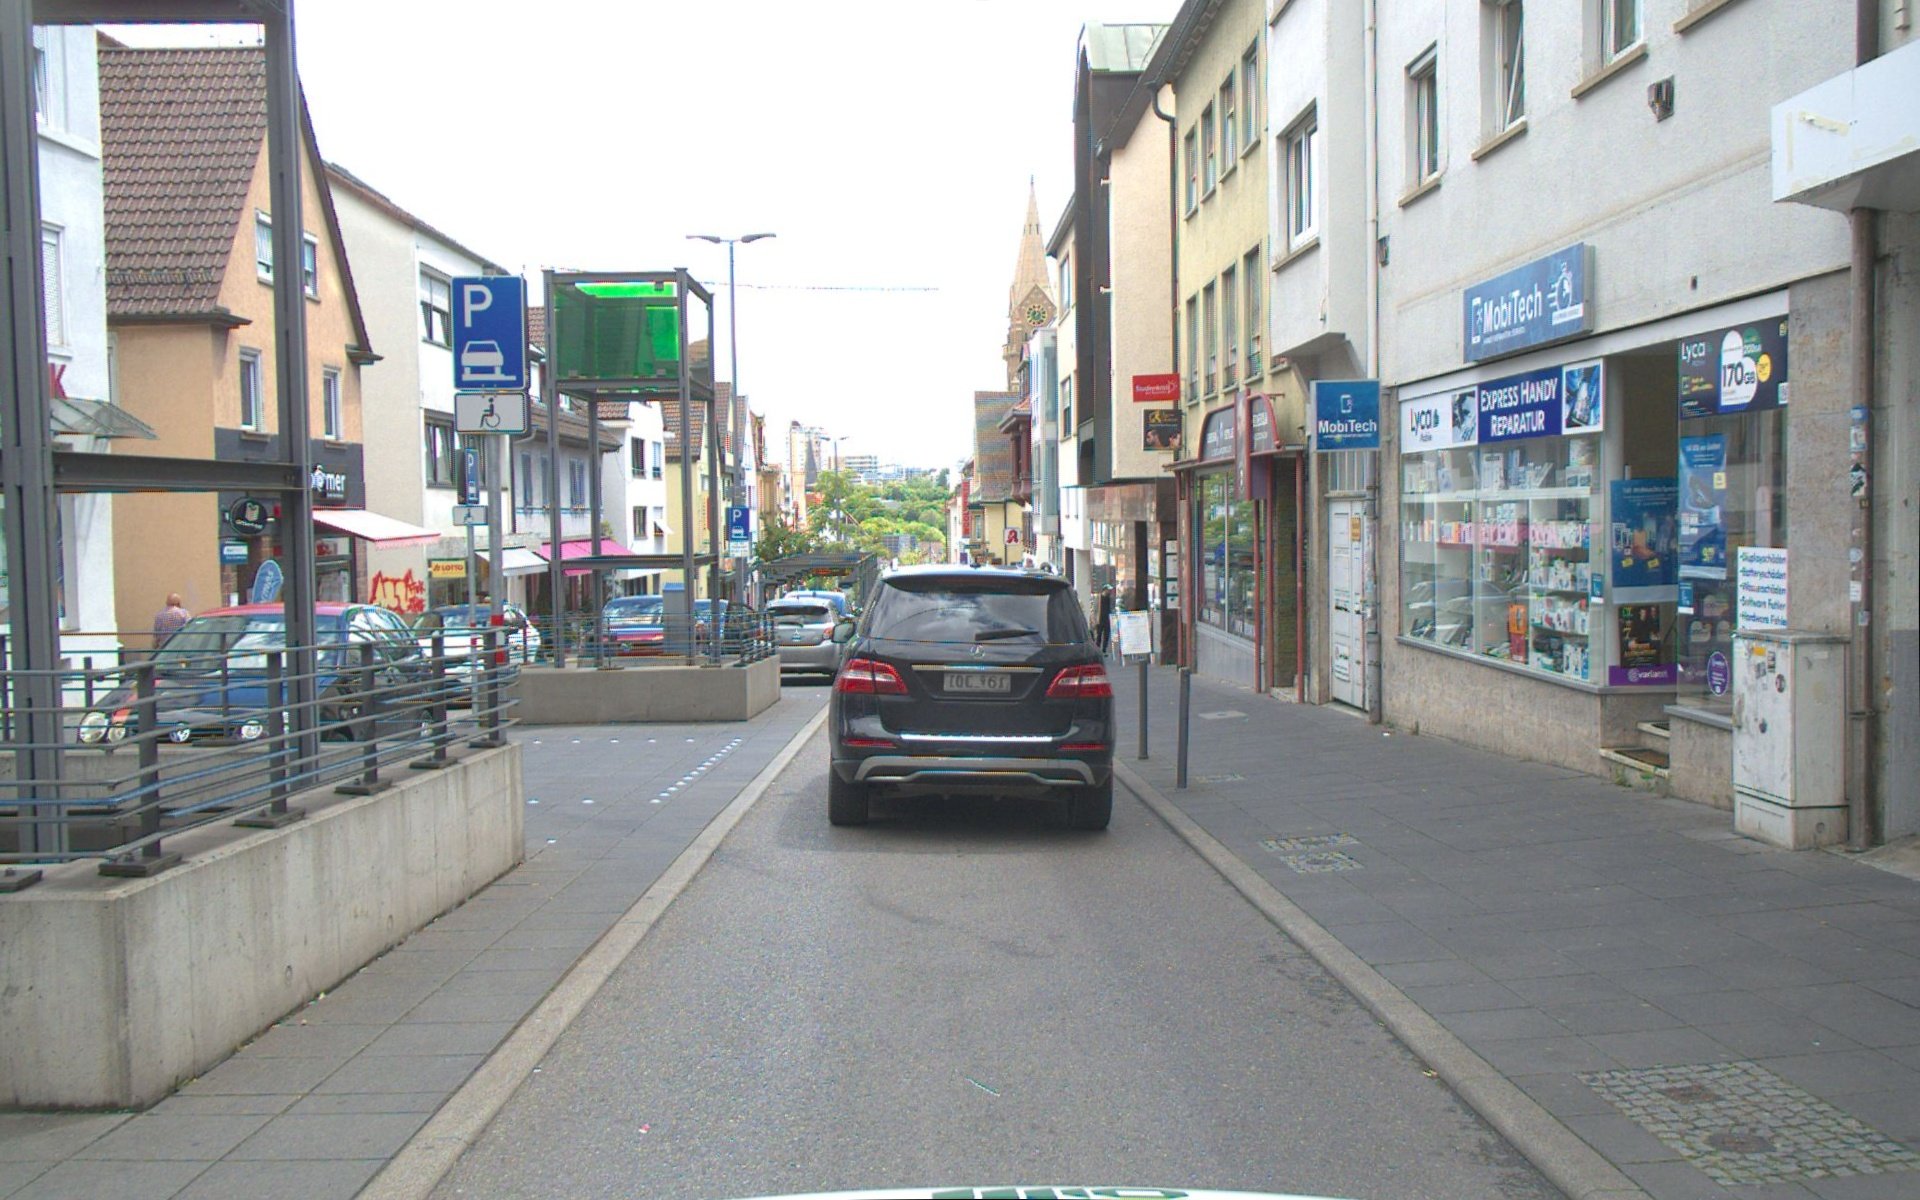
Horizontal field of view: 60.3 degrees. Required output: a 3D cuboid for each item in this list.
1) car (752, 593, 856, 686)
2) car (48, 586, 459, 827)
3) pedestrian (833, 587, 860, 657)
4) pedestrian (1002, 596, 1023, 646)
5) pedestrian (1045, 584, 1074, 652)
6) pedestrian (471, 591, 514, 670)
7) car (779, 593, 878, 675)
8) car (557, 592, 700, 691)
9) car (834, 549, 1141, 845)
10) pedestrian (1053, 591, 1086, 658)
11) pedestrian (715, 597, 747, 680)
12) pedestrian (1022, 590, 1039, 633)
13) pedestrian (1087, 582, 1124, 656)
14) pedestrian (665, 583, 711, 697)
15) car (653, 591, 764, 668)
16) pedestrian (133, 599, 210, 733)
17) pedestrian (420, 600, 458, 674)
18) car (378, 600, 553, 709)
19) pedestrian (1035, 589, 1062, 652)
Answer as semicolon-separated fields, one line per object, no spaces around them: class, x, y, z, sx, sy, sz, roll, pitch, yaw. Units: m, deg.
car;-2.748;0.671;29.775;1.587;1.559;3.669;1;0;-2
car;-5.035;0.681;12.358;1.537;1.501;3.854;1;0;-3
pedestrian;-2.715;0.523;39.588;0.651;1.667;0.945;0;0;-4
pedestrian;1.796;0.714;56.658;0.609;1.718;0.565;1;-1;-8
pedestrian;2.651;0.473;44.077;0.696;1.784;0.785;0;0;-2
pedestrian;-10.263;0.657;36.303;0.633;1.718;0.663;0;-1;38
car;-2.826;0.718;36.268;1.917;1.668;4.313;1;0;-2
car;-5.609;0.670;28.458;1.704;1.570;4.192;1;0;-2
car;0.066;0.567;12.053;1.863;1.777;3.998;0;1;-3
pedestrian;2.807;0.622;42.377;0.697;1.659;0.835;-3;0;-2
pedestrian;-4.108;0.682;29.724;0.457;1.456;0.492;-2;0;-2
pedestrian;2.855;0.458;67.187;0.562;1.718;0.565;1;-1;-8
pedestrian;3.448;0.449;39.288;0.650;1.718;0.542;-4;0;-8
pedestrian;-4.117;0.587;25.079;0.522;1.701;0.901;0;0;1
car;-5.369;0.591;35.719;1.703;1.501;3.884;1;1;1
pedestrian;-10.316;0.844;21.655;0.626;1.718;0.827;0;0;-3
pedestrian;-11.587;0.819;36.789;0.553;1.601;0.716;-2;0;-2
car;-7.833;0.817;26.558;1.645;1.599;4.121;1;0;-2
pedestrian;2.495;0.573;46.830;0.696;1.784;0.787;0;0;-2
